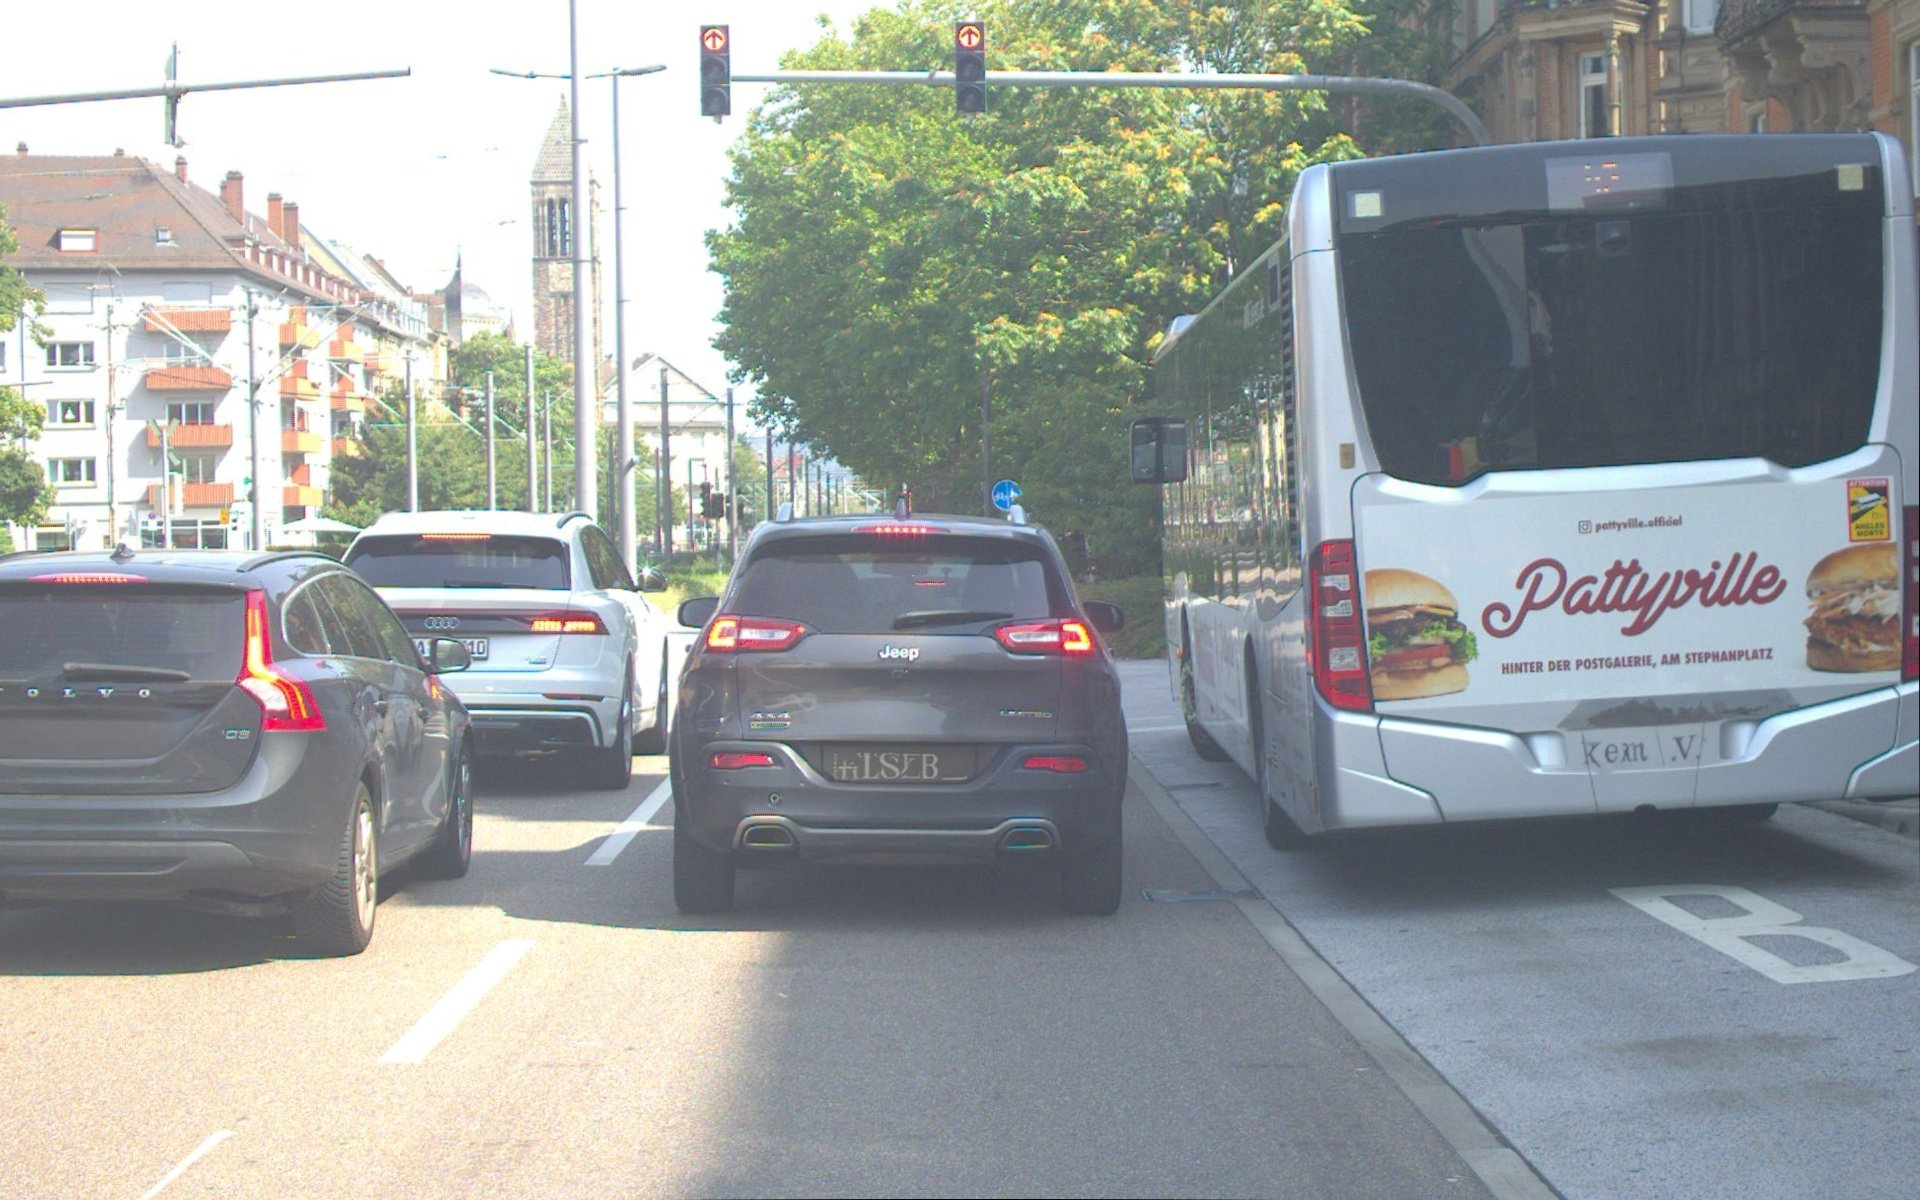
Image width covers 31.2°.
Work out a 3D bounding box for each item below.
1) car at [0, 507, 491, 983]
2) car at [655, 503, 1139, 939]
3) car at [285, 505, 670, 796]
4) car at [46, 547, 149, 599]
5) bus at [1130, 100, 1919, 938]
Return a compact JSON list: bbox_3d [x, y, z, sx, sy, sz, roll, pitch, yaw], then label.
[{"bbox_3d":[-3.011,0.449,13.803,1.747,1.609,4.309,0,1,-1],"label":"car"},{"bbox_3d":[-0.246,0.418,15.249,1.832,1.646,4.308,0,1,0],"label":"car"},{"bbox_3d":[-2.909,0.240,21.613,1.902,1.646,4.309,0,1,-1],"label":"car"},{"bbox_3d":[-25.957,-0.828,103.614,1.746,1.430,4.573,-2,1,2],"label":"car"},{"bbox_3d":[2.662,-0.416,19.294,2.743,3.096,11.956,-3,1,0],"label":"bus"}]
